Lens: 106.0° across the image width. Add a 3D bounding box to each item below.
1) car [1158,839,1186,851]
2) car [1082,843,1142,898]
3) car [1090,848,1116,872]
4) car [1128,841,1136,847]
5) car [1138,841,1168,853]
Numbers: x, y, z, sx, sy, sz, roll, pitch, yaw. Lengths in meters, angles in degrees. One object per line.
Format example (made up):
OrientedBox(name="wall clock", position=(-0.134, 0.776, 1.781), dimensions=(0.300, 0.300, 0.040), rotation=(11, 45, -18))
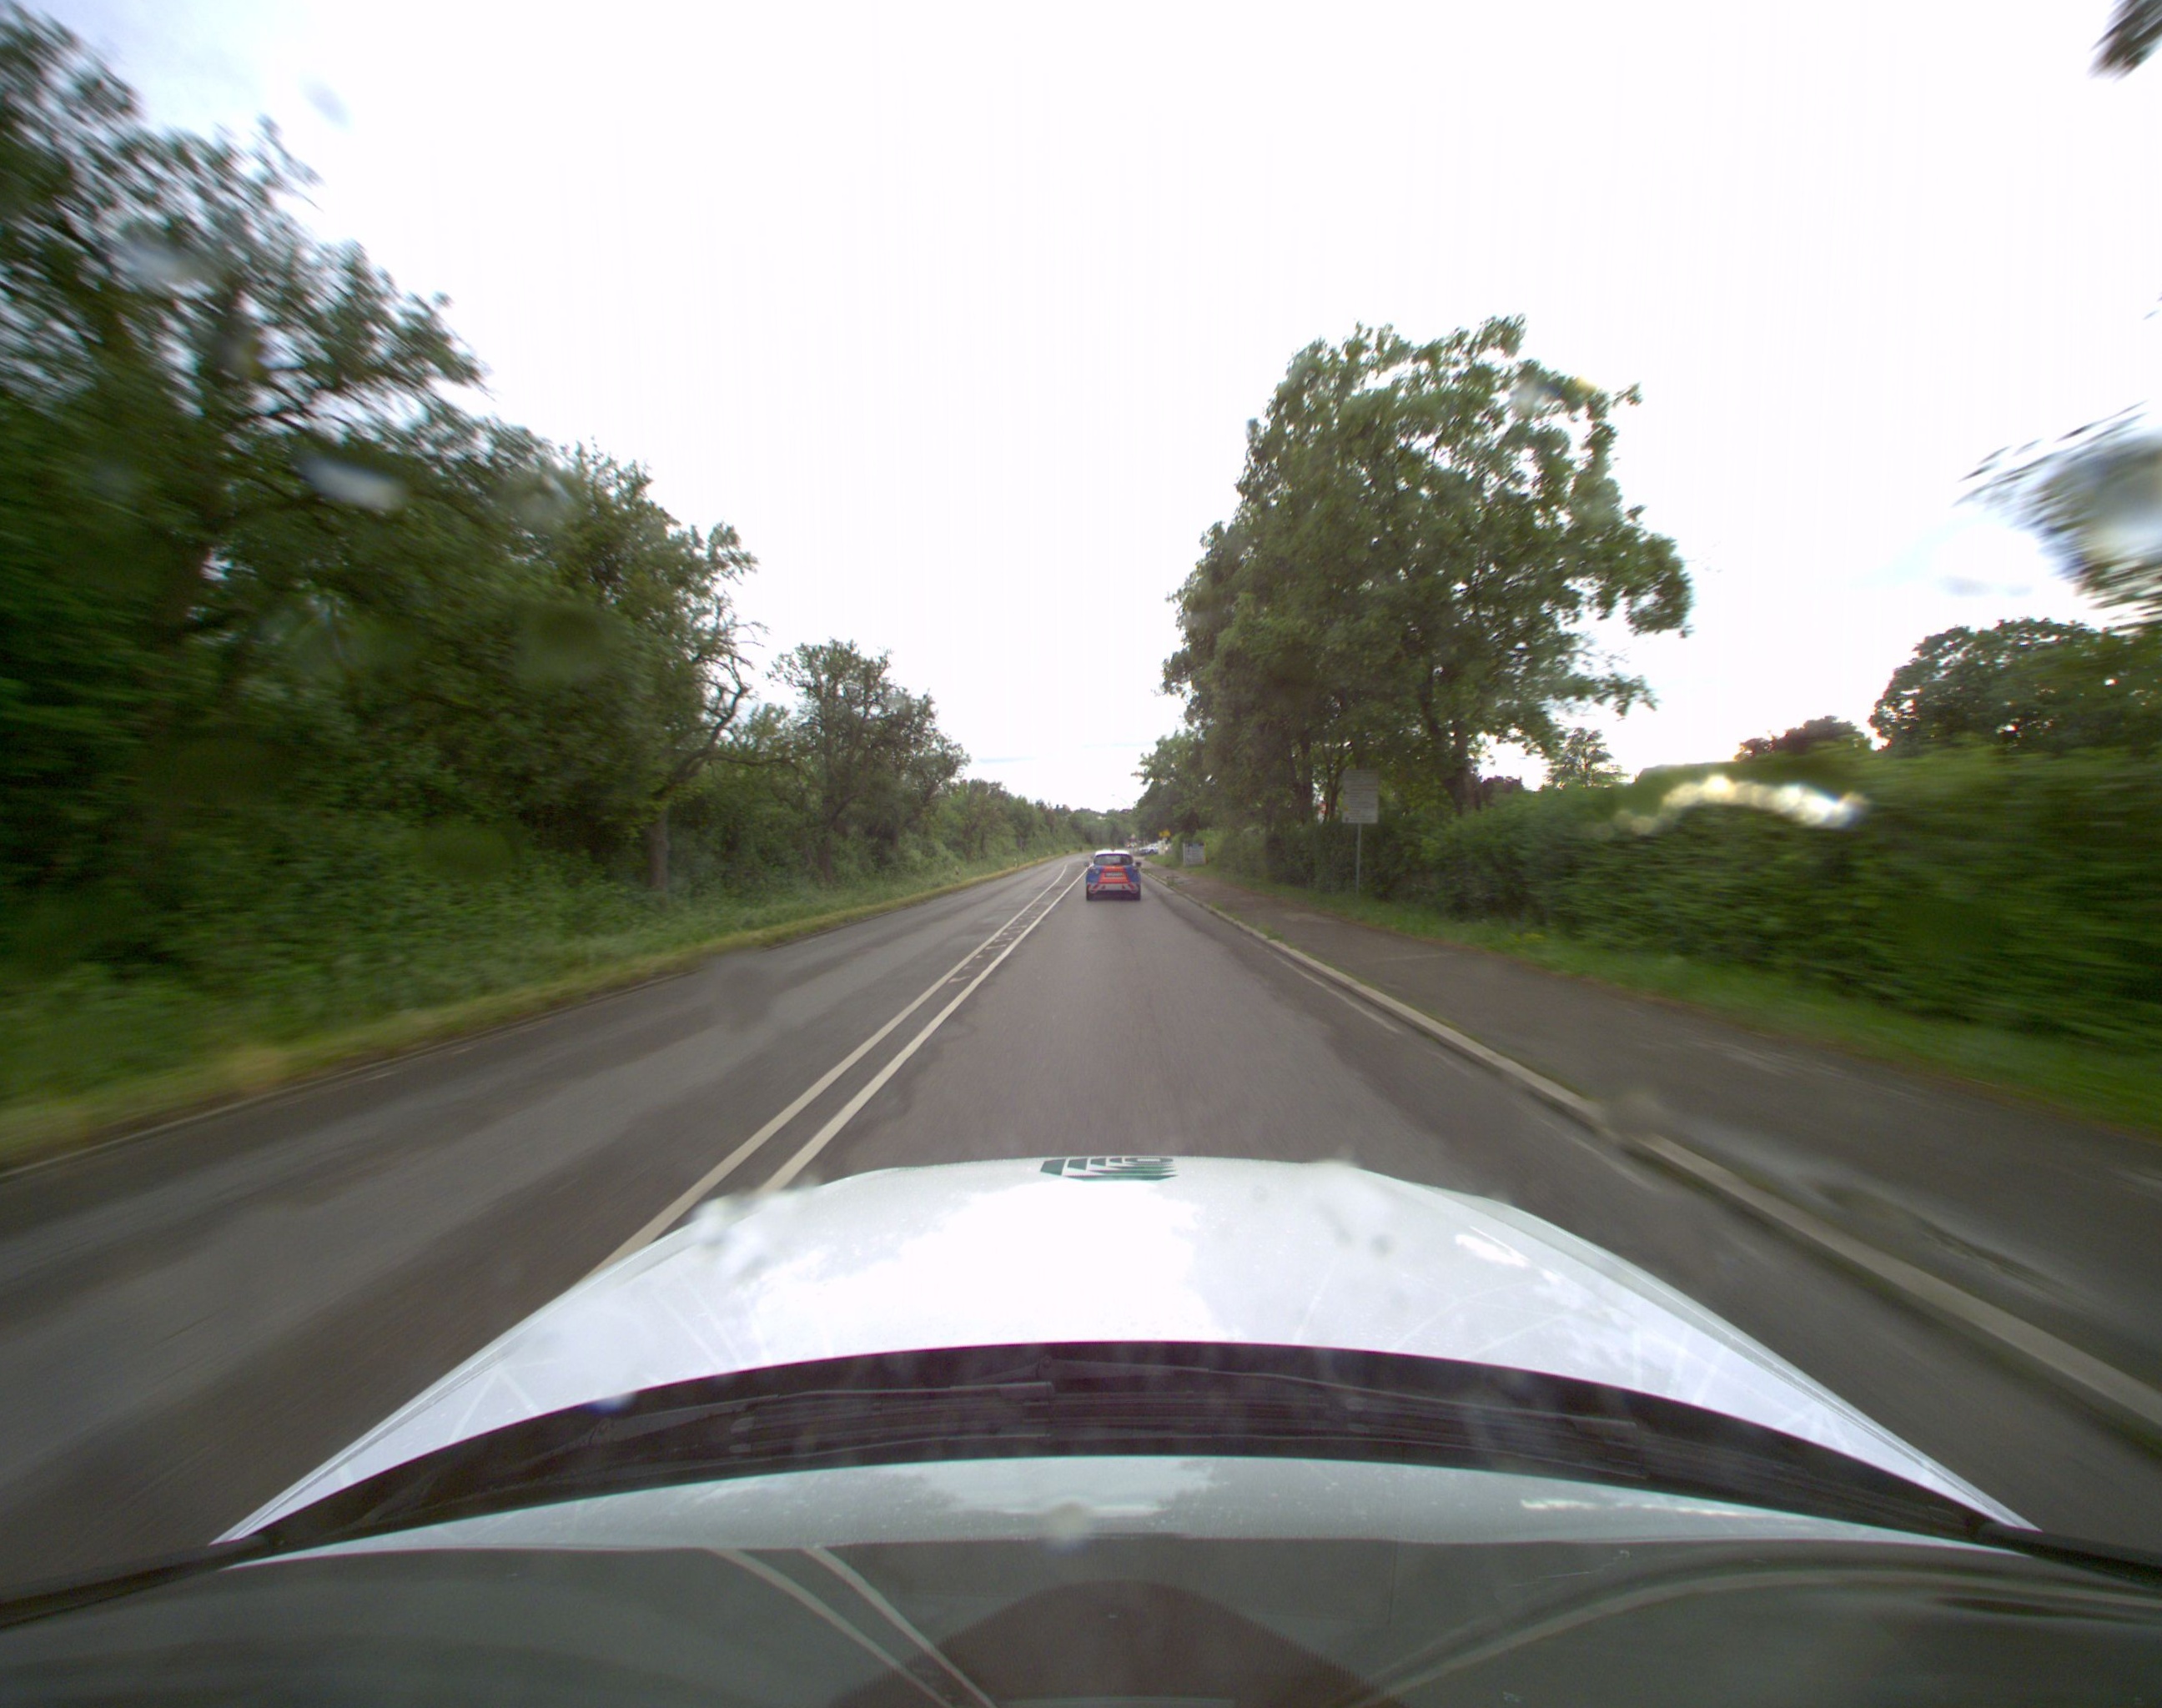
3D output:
OrientedBox(name="car", position=(14.485, -1.457, 129.383), dimensions=(1.907, 1.751, 4.647), rotation=(0, 1, 44))
OrientedBox(name="car", position=(0.994, 0.498, 26.621), dimensions=(1.799, 1.668, 3.857), rotation=(0, 0, 1))
OrientedBox(name="car", position=(1.485, 0.378, 54.825), dimensions=(1.688, 1.595, 3.857), rotation=(0, 0, 1))
OrientedBox(name="car", position=(14.989, -2.891, 238.417), dimensions=(1.682, 1.790, 3.870), rotation=(0, 0, 14))
OrientedBox(name="car", position=(11.006, -1.068, 124.407), dimensions=(4.644, 1.751, 2.011), rotation=(0, 0, -43))
